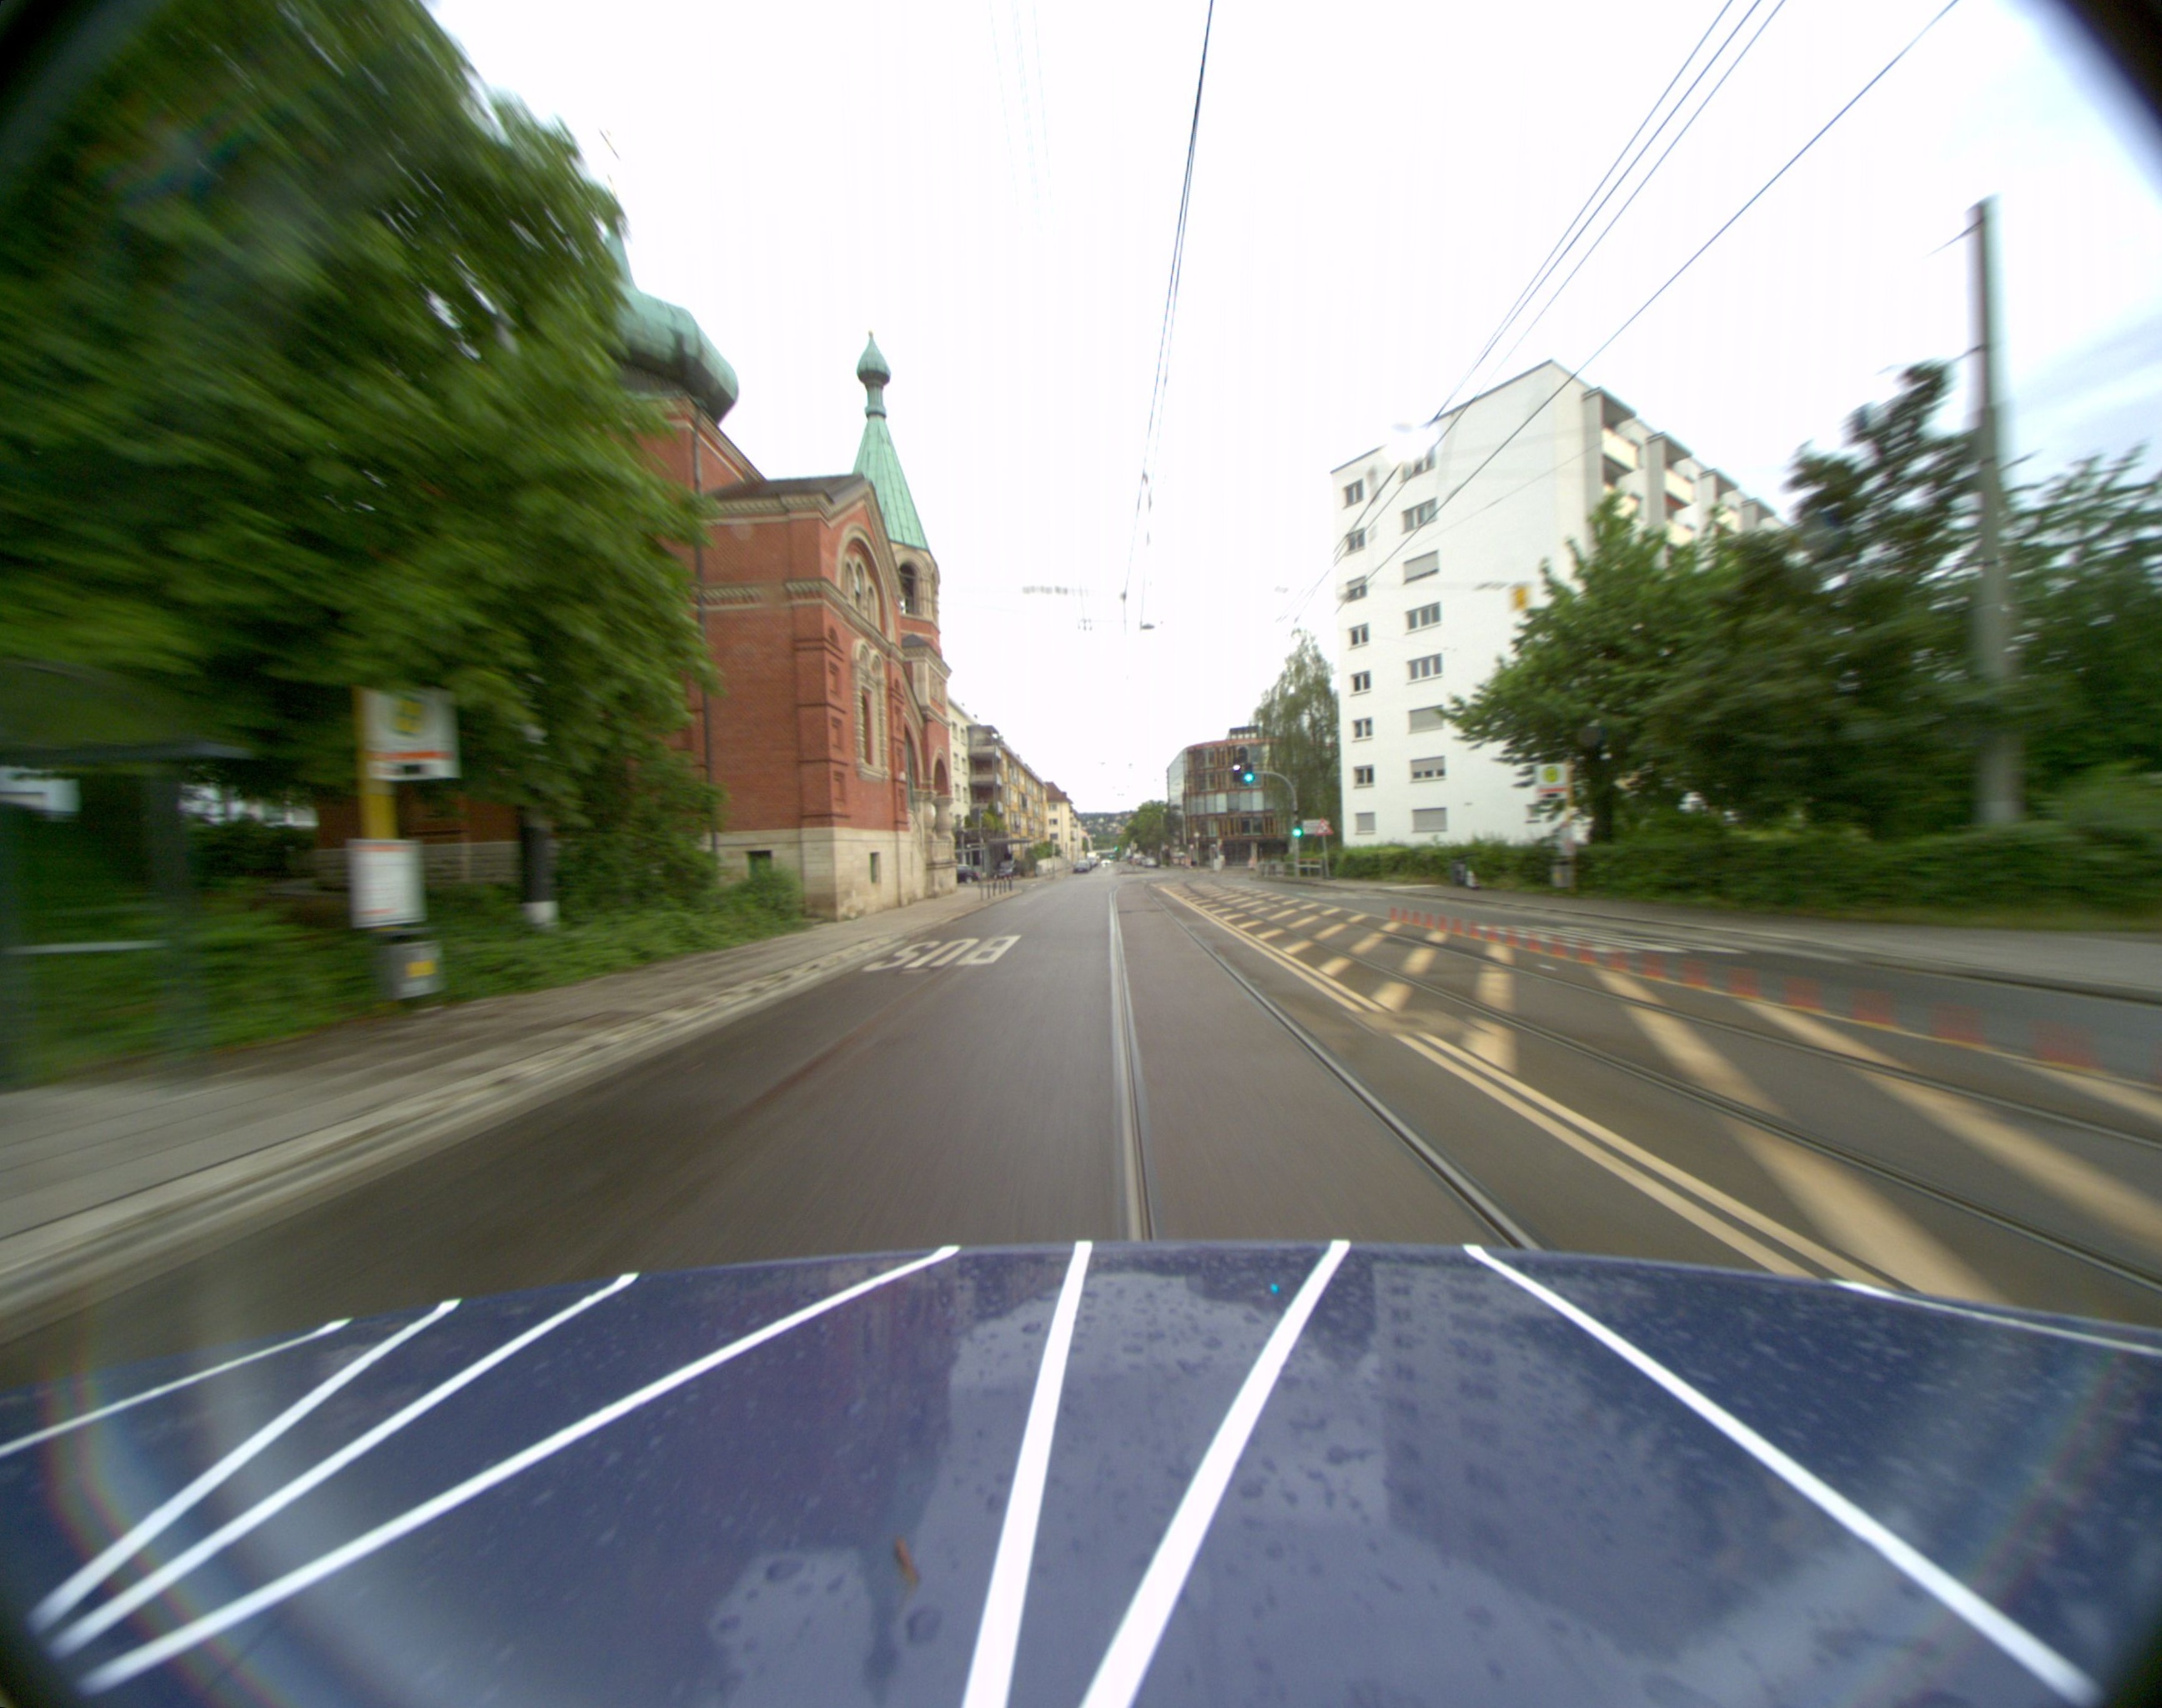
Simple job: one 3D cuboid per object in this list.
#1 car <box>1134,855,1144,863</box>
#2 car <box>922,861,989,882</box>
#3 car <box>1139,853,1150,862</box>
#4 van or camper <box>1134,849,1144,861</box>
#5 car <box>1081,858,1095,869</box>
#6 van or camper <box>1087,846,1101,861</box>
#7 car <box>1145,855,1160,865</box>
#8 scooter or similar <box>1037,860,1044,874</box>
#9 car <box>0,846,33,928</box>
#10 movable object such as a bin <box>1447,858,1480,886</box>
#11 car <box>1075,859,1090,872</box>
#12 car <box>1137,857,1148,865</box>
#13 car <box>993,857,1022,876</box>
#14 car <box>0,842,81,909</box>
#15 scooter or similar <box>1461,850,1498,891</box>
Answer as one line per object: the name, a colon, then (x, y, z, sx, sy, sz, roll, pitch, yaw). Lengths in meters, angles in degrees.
car: (13.681, 1.143, 179.321, 1.998, 1.565, 3.999, -3, 1, 1)
car: (-9.158, 1.310, 55.555, 4.459, 1.448, 1.997, 2, -4, -43)
car: (13.174, 0.669, 158.686, 1.880, 1.699, 3.999, -2, 1, 0)
van or camper: (14.166, 0.192, 185.108, 2.143, 2.588, 5.550, -3, 1, 3)
car: (1.094, 1.387, 114.077, 1.915, 1.418, 4.451, -3, 1, 2)
van or camper: (2.840, -0.141, 166.429, 2.753, 3.040, 7.030, -3, 1, 3)
car: (10.746, 0.880, 113.692, 1.862, 1.386, 4.645, -2, 0, 1)
scooter or similar: (-3.958, 1.308, 74.268, 0.536, 1.319, 1.659, 2, 1, 3)
car: (-21.277, 0.665, 13.864, 1.845, 1.555, 3.985, -4, 1, -45)
movable object such as a bin: (12.971, 0.600, 25.801, 0.688, 0.877, 0.760, -3, 1, -3)
car: (0.209, 1.419, 97.328, 1.734, 1.451, 4.477, -3, 1, 2)
car: (12.442, 1.338, 153.454, 1.880, 1.390, 3.999, -2, 1, 0)
car: (-6.262, 1.051, 65.565, 1.857, 1.494, 4.448, 1, 2, 3)
car: (-24.981, 0.539, 17.531, 1.747, 1.437, 3.825, -4, 1, -45)
scooter or similar: (12.509, 0.513, 23.905, 0.573, 1.177, 1.601, -3, 1, 12)
